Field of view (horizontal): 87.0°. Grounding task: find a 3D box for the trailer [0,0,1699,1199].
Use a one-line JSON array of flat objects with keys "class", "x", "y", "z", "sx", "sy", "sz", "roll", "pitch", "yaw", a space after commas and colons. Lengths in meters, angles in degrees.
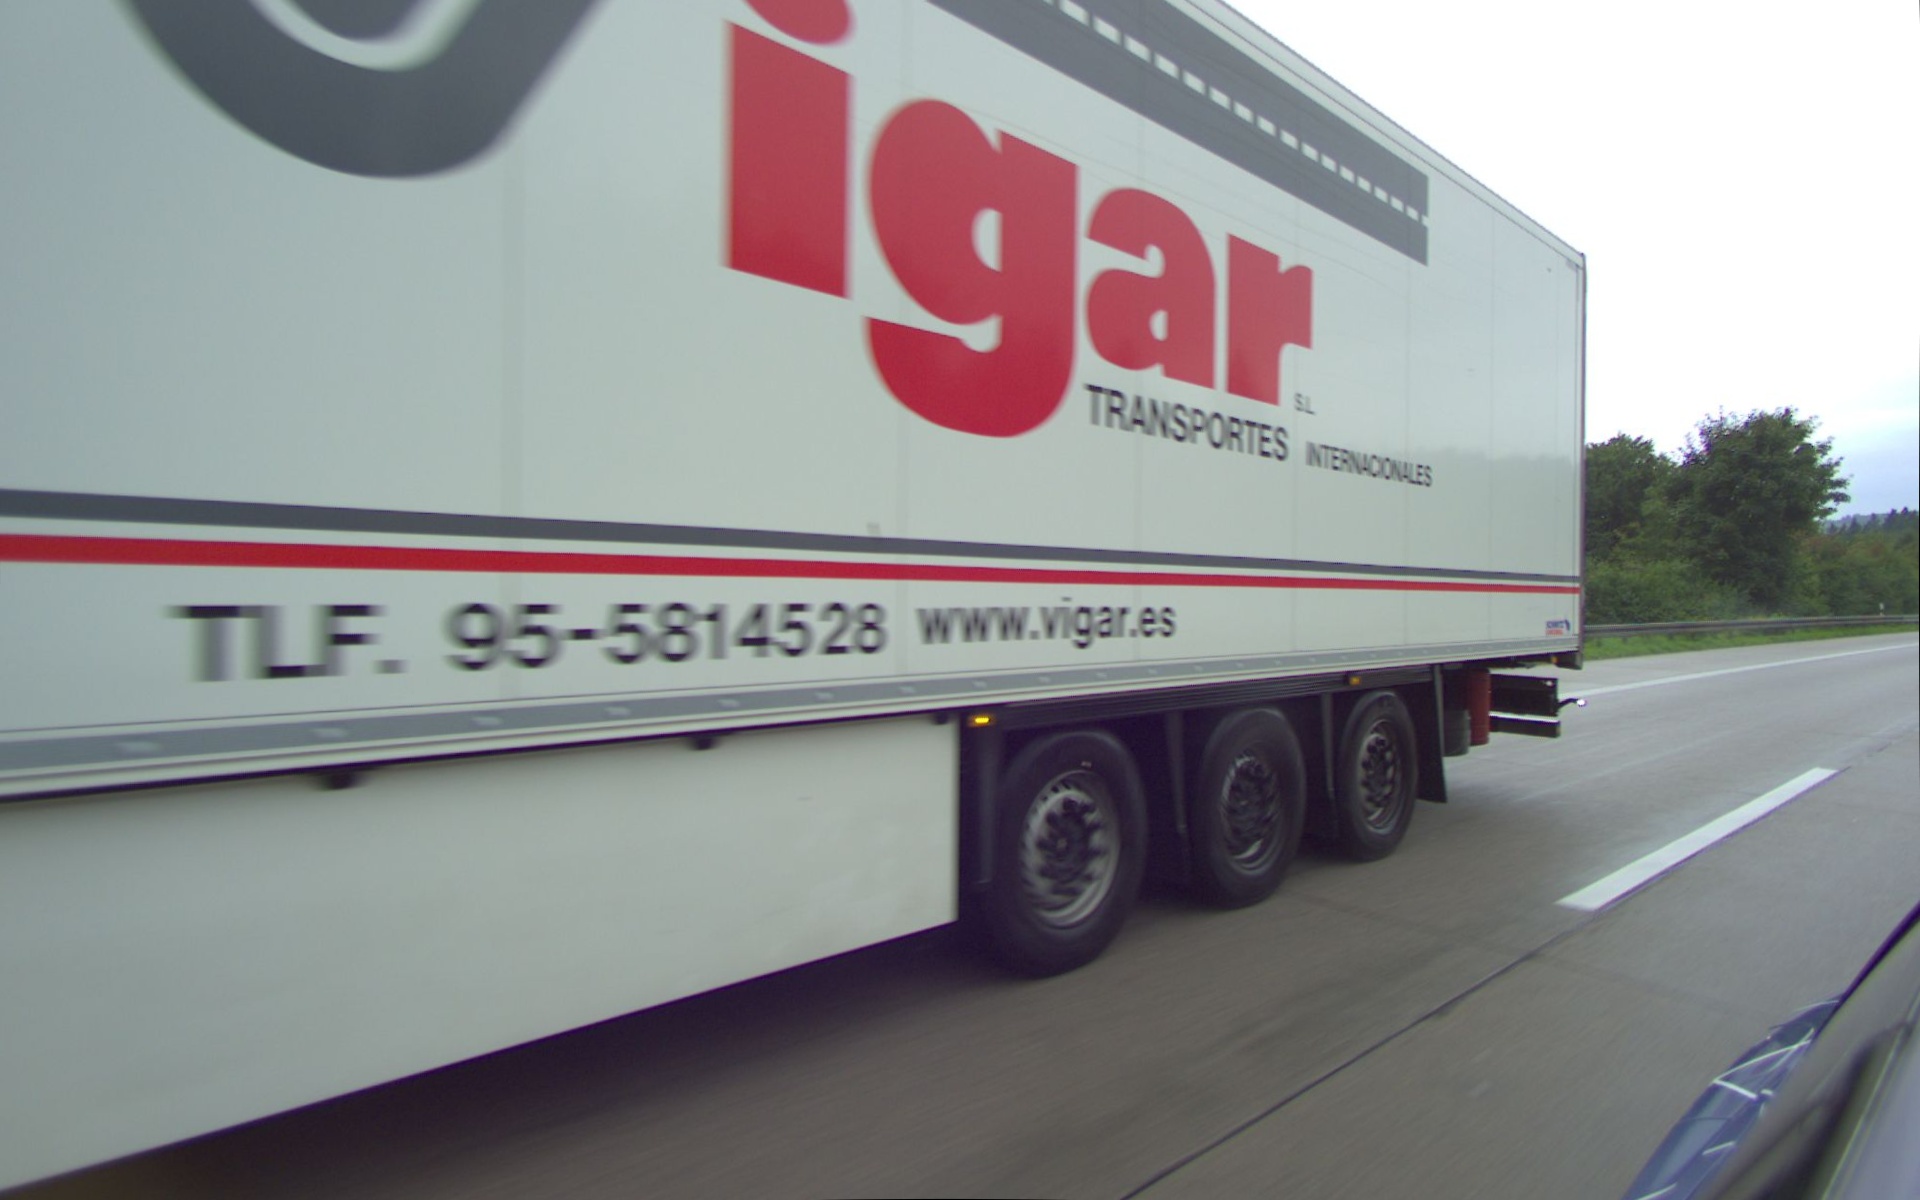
[{"class": "trailer", "x": 0.835, "y": -0.715, "z": 5.740, "sx": 13.447, "sy": 4.155, "sz": 2.738, "roll": 0, "pitch": 0, "yaw": -42}]
